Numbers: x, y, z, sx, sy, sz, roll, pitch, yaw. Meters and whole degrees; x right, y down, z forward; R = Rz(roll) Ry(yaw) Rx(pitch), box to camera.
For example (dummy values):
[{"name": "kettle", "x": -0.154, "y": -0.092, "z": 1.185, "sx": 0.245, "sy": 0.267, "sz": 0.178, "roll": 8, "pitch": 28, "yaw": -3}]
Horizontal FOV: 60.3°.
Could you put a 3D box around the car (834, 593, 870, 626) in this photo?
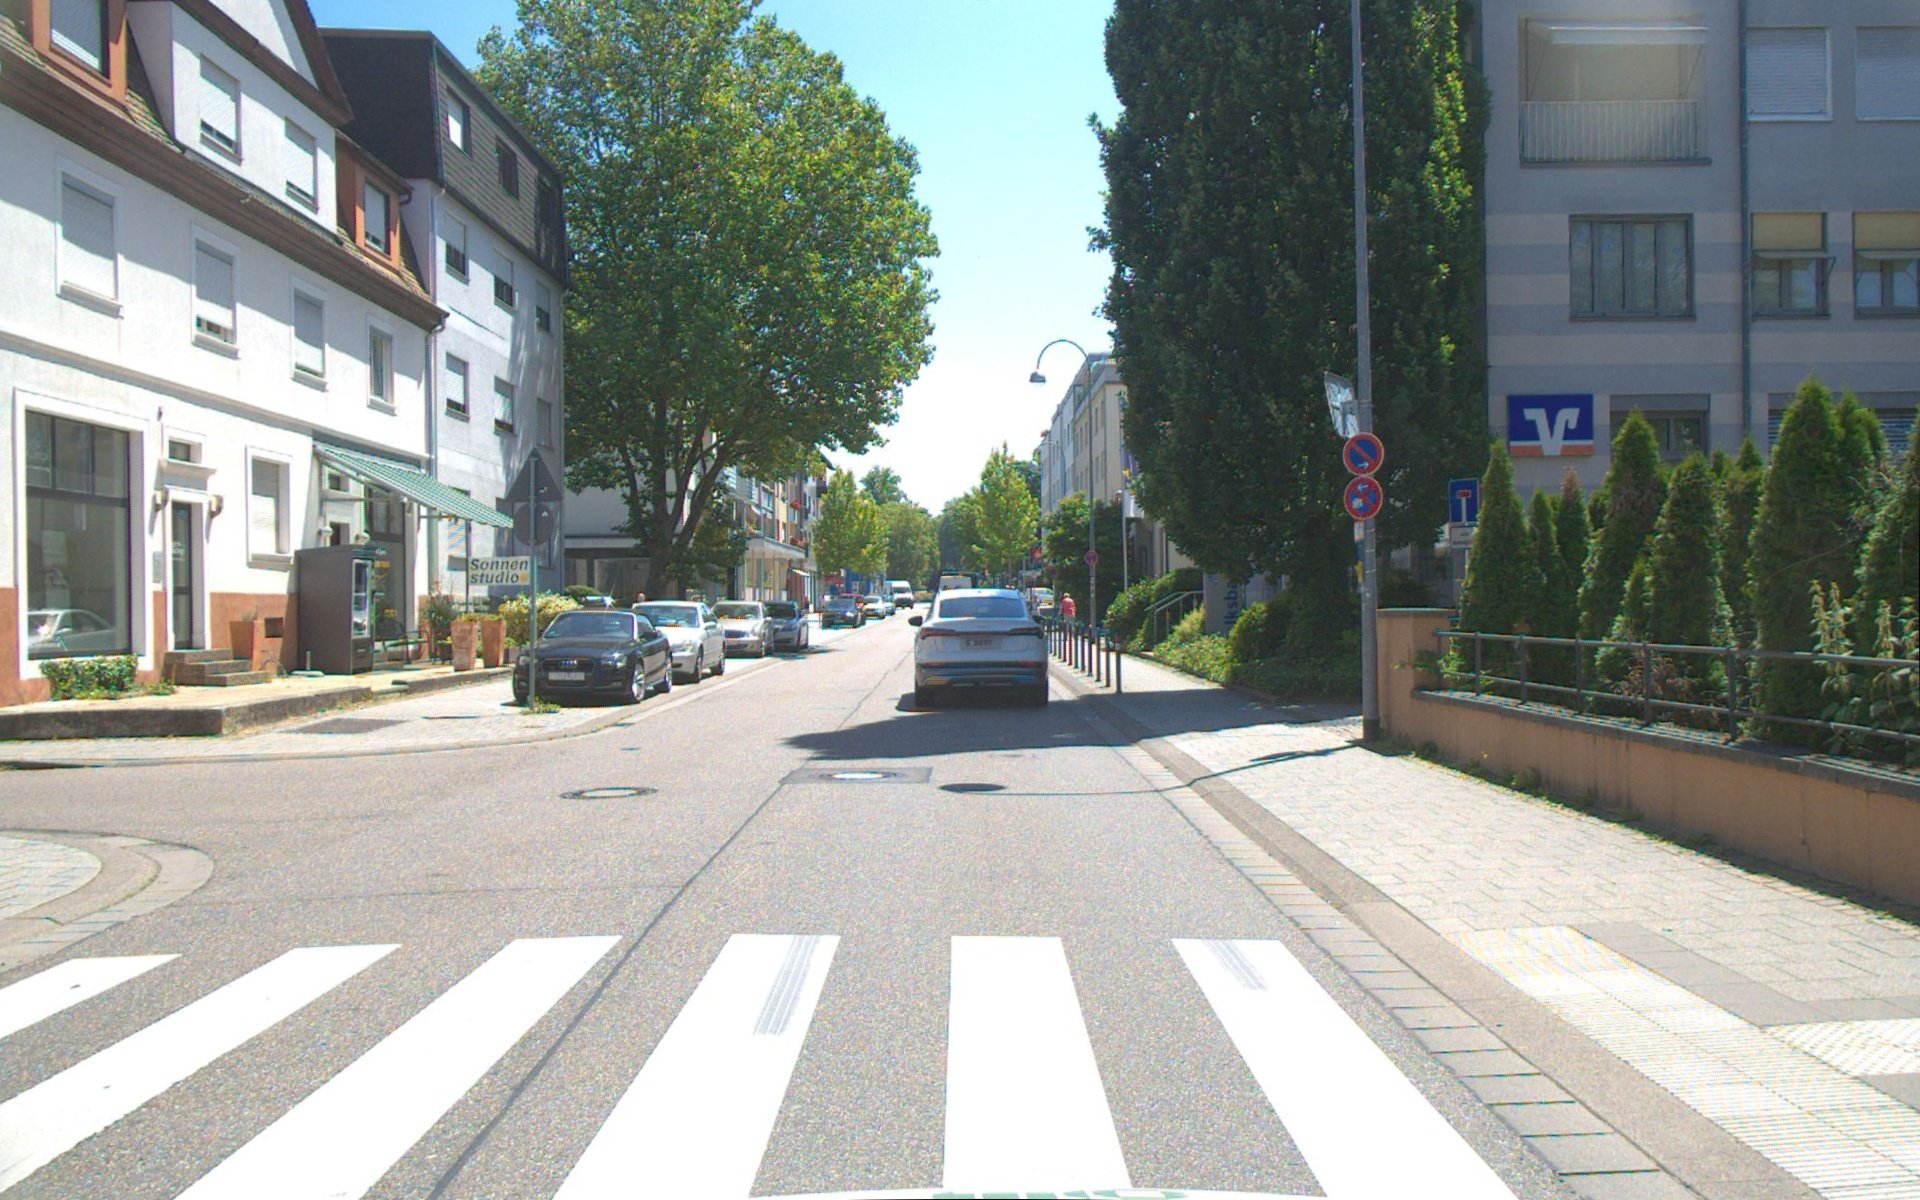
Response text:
[{"name": "car", "x": -5.945, "y": 0.530, "z": 91.474, "sx": 1.717, "sy": 1.732, "sz": 4.101, "roll": 1, "pitch": 0, "yaw": -1}]

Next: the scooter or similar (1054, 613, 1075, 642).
[{"name": "scooter or similar", "x": 3.555, "y": 0.927, "z": 56.375, "sx": 0.650, "sy": 0.980, "sz": 0.754, "roll": -1, "pitch": 0, "yaw": 0}]

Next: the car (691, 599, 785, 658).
[{"name": "car", "x": -5.847, "y": 0.710, "z": 44.031, "sx": 1.941, "sy": 1.477, "sz": 4.867, "roll": 0, "pitch": 0, "yaw": -1}]

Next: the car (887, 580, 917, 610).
[{"name": "car", "x": -5.488, "y": -0.445, "z": 155.742, "sx": 1.998, "sy": 2.676, "sz": 7.094, "roll": -3, "pitch": 0, "yaw": -8}]

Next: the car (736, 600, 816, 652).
[{"name": "car", "x": -5.481, "y": 0.738, "z": 49.928, "sx": 1.941, "sy": 1.477, "sz": 5.149, "roll": 0, "pitch": 0, "yaw": -1}]

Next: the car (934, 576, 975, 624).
[{"name": "car", "x": -0.276, "y": 0.019, "z": 89.971, "sx": 2.112, "sy": 2.484, "sz": 5.283, "roll": 1, "pitch": 0, "yaw": 0}]

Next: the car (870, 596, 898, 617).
[{"name": "car", "x": -5.754, "y": 0.487, "z": 125.653, "sx": 1.716, "sy": 1.478, "sz": 4.401, "roll": 1, "pitch": 0, "yaw": 2}]

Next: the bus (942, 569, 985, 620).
[{"name": "bus", "x": 0.300, "y": -0.341, "z": 112.487, "sx": 2.605, "sy": 3.278, "sz": 7.303, "roll": 1, "pitch": 0, "yaw": 2}]

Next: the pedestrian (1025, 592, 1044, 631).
[{"name": "pedestrian", "x": 3.261, "y": 0.501, "z": 72.224, "sx": 0.686, "sy": 1.655, "sz": 0.783, "roll": -4, "pitch": 0, "yaw": -2}]

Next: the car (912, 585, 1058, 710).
[{"name": "car", "x": 0.293, "y": 0.642, "z": 24.285, "sx": 1.953, "sy": 1.661, "sz": 3.999, "roll": 1, "pitch": 0, "yaw": -1}]

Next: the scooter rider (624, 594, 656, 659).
[{"name": "scooter rider", "x": -7.969, "y": 0.650, "z": 41.216, "sx": 0.576, "sy": 1.603, "sz": 0.877, "roll": 1, "pitch": 0, "yaw": 1}]

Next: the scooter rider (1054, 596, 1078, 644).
[{"name": "scooter rider", "x": 3.562, "y": 0.660, "z": 55.767, "sx": 0.701, "sy": 1.576, "sz": 0.770, "roll": -2, "pitch": 0, "yaw": -2}]

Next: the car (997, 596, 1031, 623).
[{"name": "car", "x": 2.997, "y": 0.514, "z": 92.244, "sx": 1.857, "sy": 1.463, "sz": 4.545, "roll": -1, "pitch": 0, "yaw": 1}]

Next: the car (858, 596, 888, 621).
[{"name": "car", "x": -6.025, "y": 0.557, "z": 114.784, "sx": 1.716, "sy": 1.646, "sz": 4.401, "roll": 1, "pitch": 0, "yaw": 1}]

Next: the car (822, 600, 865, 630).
[{"name": "car", "x": -5.963, "y": 0.763, "z": 84.999, "sx": 1.857, "sy": 1.442, "sz": 5.047, "roll": 1, "pitch": 0, "yaw": -1}]

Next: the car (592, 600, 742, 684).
[{"name": "car", "x": -5.595, "y": 0.757, "z": 32.309, "sx": 1.940, "sy": 1.477, "sz": 5.357, "roll": 0, "pitch": 0, "yaw": 0}]

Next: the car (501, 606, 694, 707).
[{"name": "car", "x": -5.607, "y": 0.821, "z": 26.239, "sx": 1.902, "sy": 1.397, "sz": 5.098, "roll": 0, "pitch": 0, "yaw": 0}]

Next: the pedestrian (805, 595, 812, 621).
[{"name": "pedestrian", "x": -10.315, "y": 0.517, "z": 112.585, "sx": 0.387, "sy": 1.765, "sz": 0.444, "roll": -1, "pitch": 0, "yaw": -11}]

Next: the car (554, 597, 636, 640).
[{"name": "car", "x": -13.616, "y": 0.671, "z": 61.521, "sx": 1.871, "sy": 1.512, "sz": 3.955, "roll": -1, "pitch": 0, "yaw": -30}]
